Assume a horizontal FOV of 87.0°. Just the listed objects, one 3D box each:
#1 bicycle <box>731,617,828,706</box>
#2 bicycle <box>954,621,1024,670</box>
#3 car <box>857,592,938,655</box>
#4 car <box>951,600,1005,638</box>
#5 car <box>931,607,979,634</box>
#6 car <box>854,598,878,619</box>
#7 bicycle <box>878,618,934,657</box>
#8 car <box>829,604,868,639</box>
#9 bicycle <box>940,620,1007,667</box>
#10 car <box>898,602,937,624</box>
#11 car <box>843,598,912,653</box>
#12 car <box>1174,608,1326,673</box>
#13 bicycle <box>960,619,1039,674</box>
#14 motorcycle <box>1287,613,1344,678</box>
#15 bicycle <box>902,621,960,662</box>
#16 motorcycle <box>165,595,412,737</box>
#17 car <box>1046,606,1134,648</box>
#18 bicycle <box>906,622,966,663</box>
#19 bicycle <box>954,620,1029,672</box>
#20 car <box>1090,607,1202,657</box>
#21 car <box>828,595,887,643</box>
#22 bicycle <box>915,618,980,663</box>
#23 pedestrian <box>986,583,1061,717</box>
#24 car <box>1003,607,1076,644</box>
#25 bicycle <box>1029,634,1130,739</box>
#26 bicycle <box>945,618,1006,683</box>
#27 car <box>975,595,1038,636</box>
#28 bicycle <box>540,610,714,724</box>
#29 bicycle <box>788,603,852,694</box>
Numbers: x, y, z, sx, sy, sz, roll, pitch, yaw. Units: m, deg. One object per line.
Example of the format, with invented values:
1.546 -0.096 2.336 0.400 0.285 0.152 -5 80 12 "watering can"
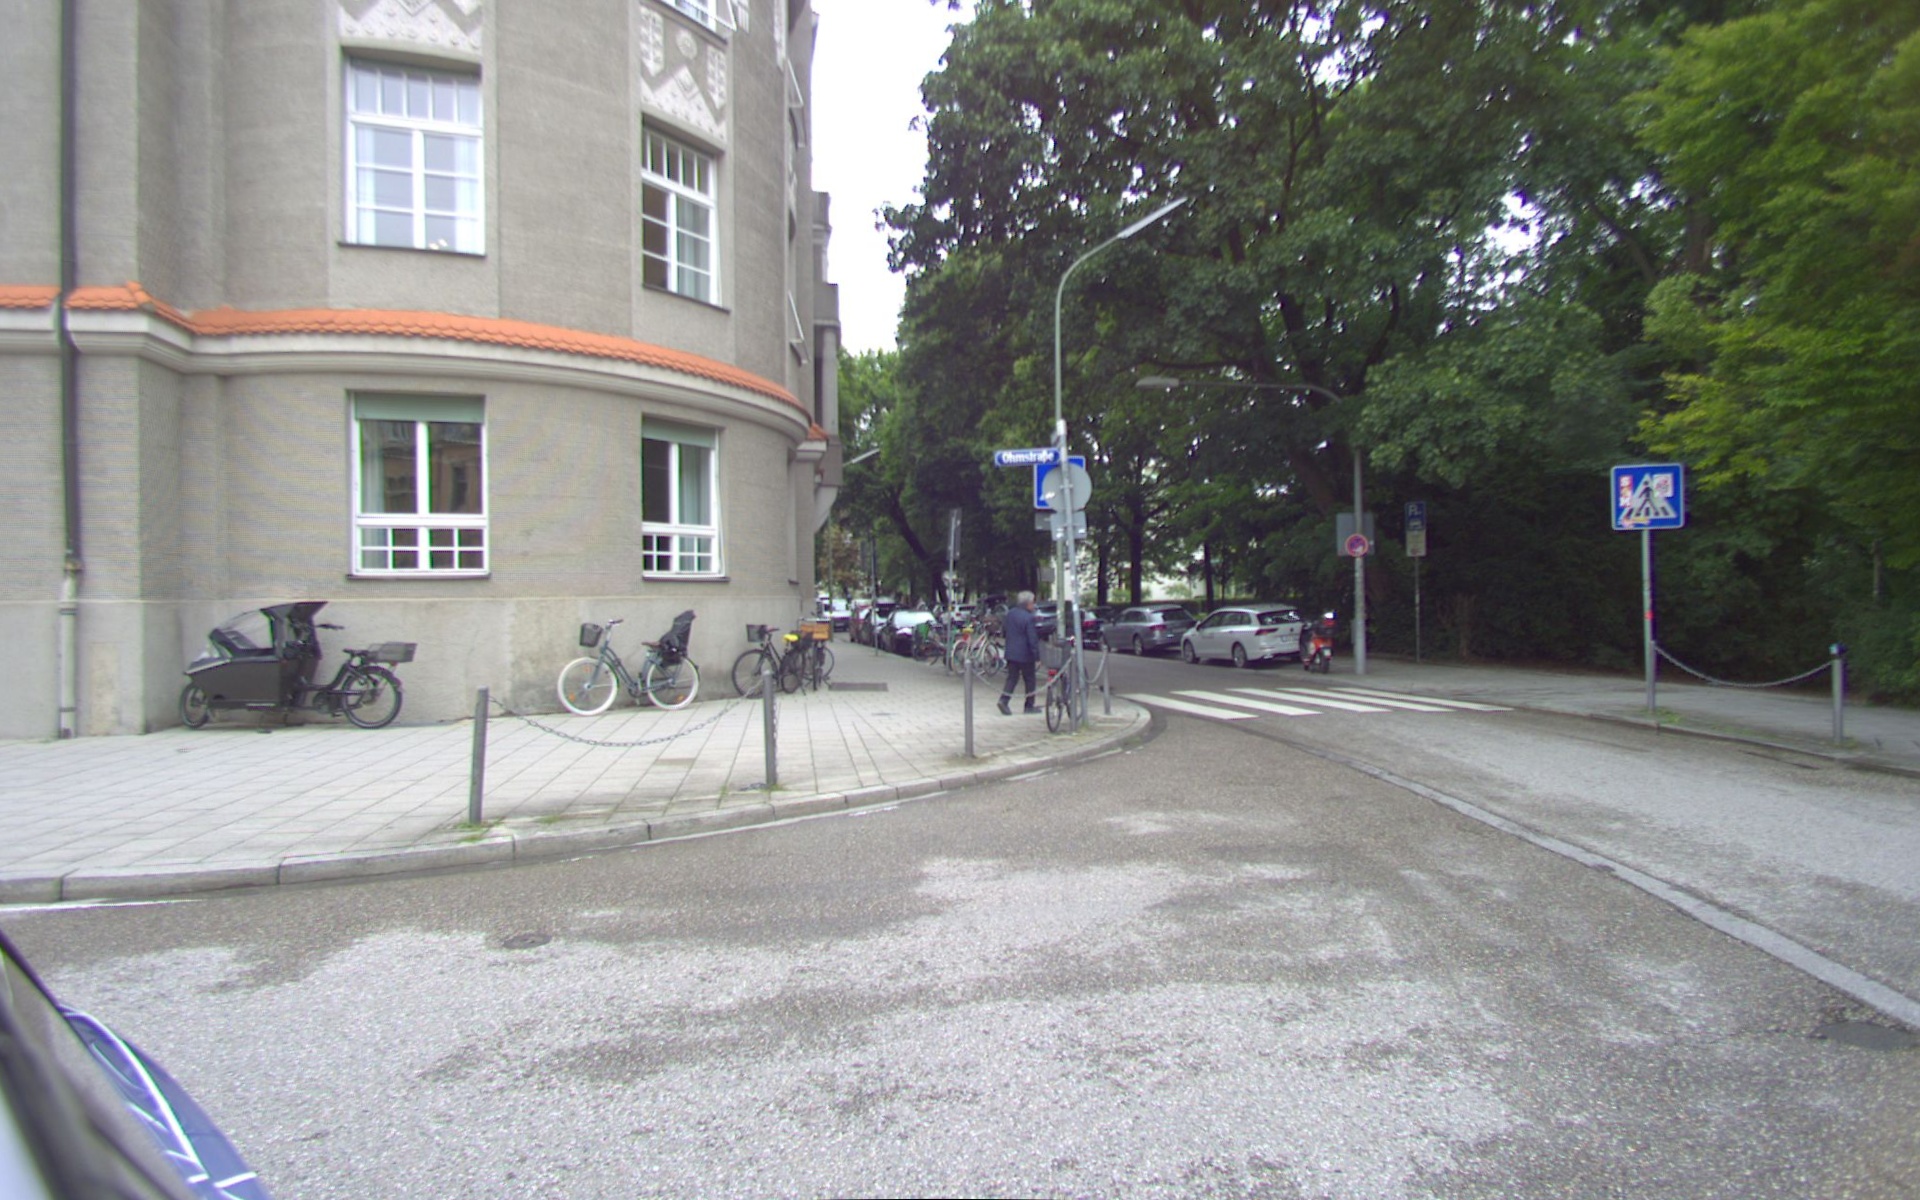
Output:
-2.628 0.863 14.962 0.560 1.165 1.916 3 1 17 "bicycle"
0.701 1.086 24.262 1.663 1.156 0.511 -1 0 6 "bicycle"
-2.215 0.726 34.425 1.967 1.966 4.673 -1 0 -13 "car"
0.890 0.982 52.975 1.748 1.849 4.528 0 -1 -13 "car"
-0.356 1.174 58.215 1.748 1.443 4.528 0 -1 -13 "car"
-9.380 0.840 101.062 1.968 1.966 4.671 -1 0 -10 "car"
-1.646 1.139 31.038 1.663 1.156 0.511 -1 0 6 "bicycle"
-6.708 1.221 60.513 1.968 1.966 4.671 -1 0 -10 "car"
0.352 1.102 25.650 1.663 1.156 0.511 -1 0 6 "bicycle"
-2.898 0.874 67.682 1.748 1.443 4.528 0 -1 -13 "car"
-3.263 0.917 39.132 1.967 1.966 4.673 -1 0 -13 "car"
7.087 0.954 25.253 1.597 1.460 4.447 0 -1 -14 "car"
0.875 1.006 22.075 1.687 1.156 0.511 -1 0 6 "bicycle"
7.273 0.907 20.810 0.851 1.192 1.996 -4 -1 14 "motorcycle"
-0.844 1.215 29.781 1.663 1.156 0.511 -1 0 6 "bicycle"
-7.247 0.684 11.027 2.112 1.451 0.740 -1 0 -11 "motorcycle"
4.725 0.982 37.477 1.748 1.443 4.528 0 -1 -13 "car"
-0.695 1.223 29.100 1.663 1.156 0.511 -1 0 6 "bicycle"
0.716 1.032 22.778 1.663 1.156 0.465 -1 0 6 "bicycle"
5.724 0.964 31.704 1.748 1.443 4.528 0 -1 -13 "car"
-4.587 0.789 44.773 1.967 1.966 4.673 -1 0 -13 "car"
-0.316 1.061 26.463 1.663 1.156 0.511 -1 0 6 "bicycle"
0.827 0.620 13.013 0.806 1.654 0.722 0 0 17 "pedestrian"
3.269 1.062 42.589 1.748 1.443 4.528 0 -1 -13 "car"
1.414 0.948 11.675 0.509 1.018 1.990 0 0 27 "bicycle"
0.326 0.951 19.625 0.509 1.156 1.669 0 0 27 "bicycle"
2.135 0.703 47.672 1.748 1.832 4.528 0 0 -13 "car"
-4.075 0.771 12.464 1.896 1.265 0.739 -1 0 -40 "bicycle"
-2.314 0.769 16.964 0.728 1.424 1.925 -1 0 2 "bicycle"
